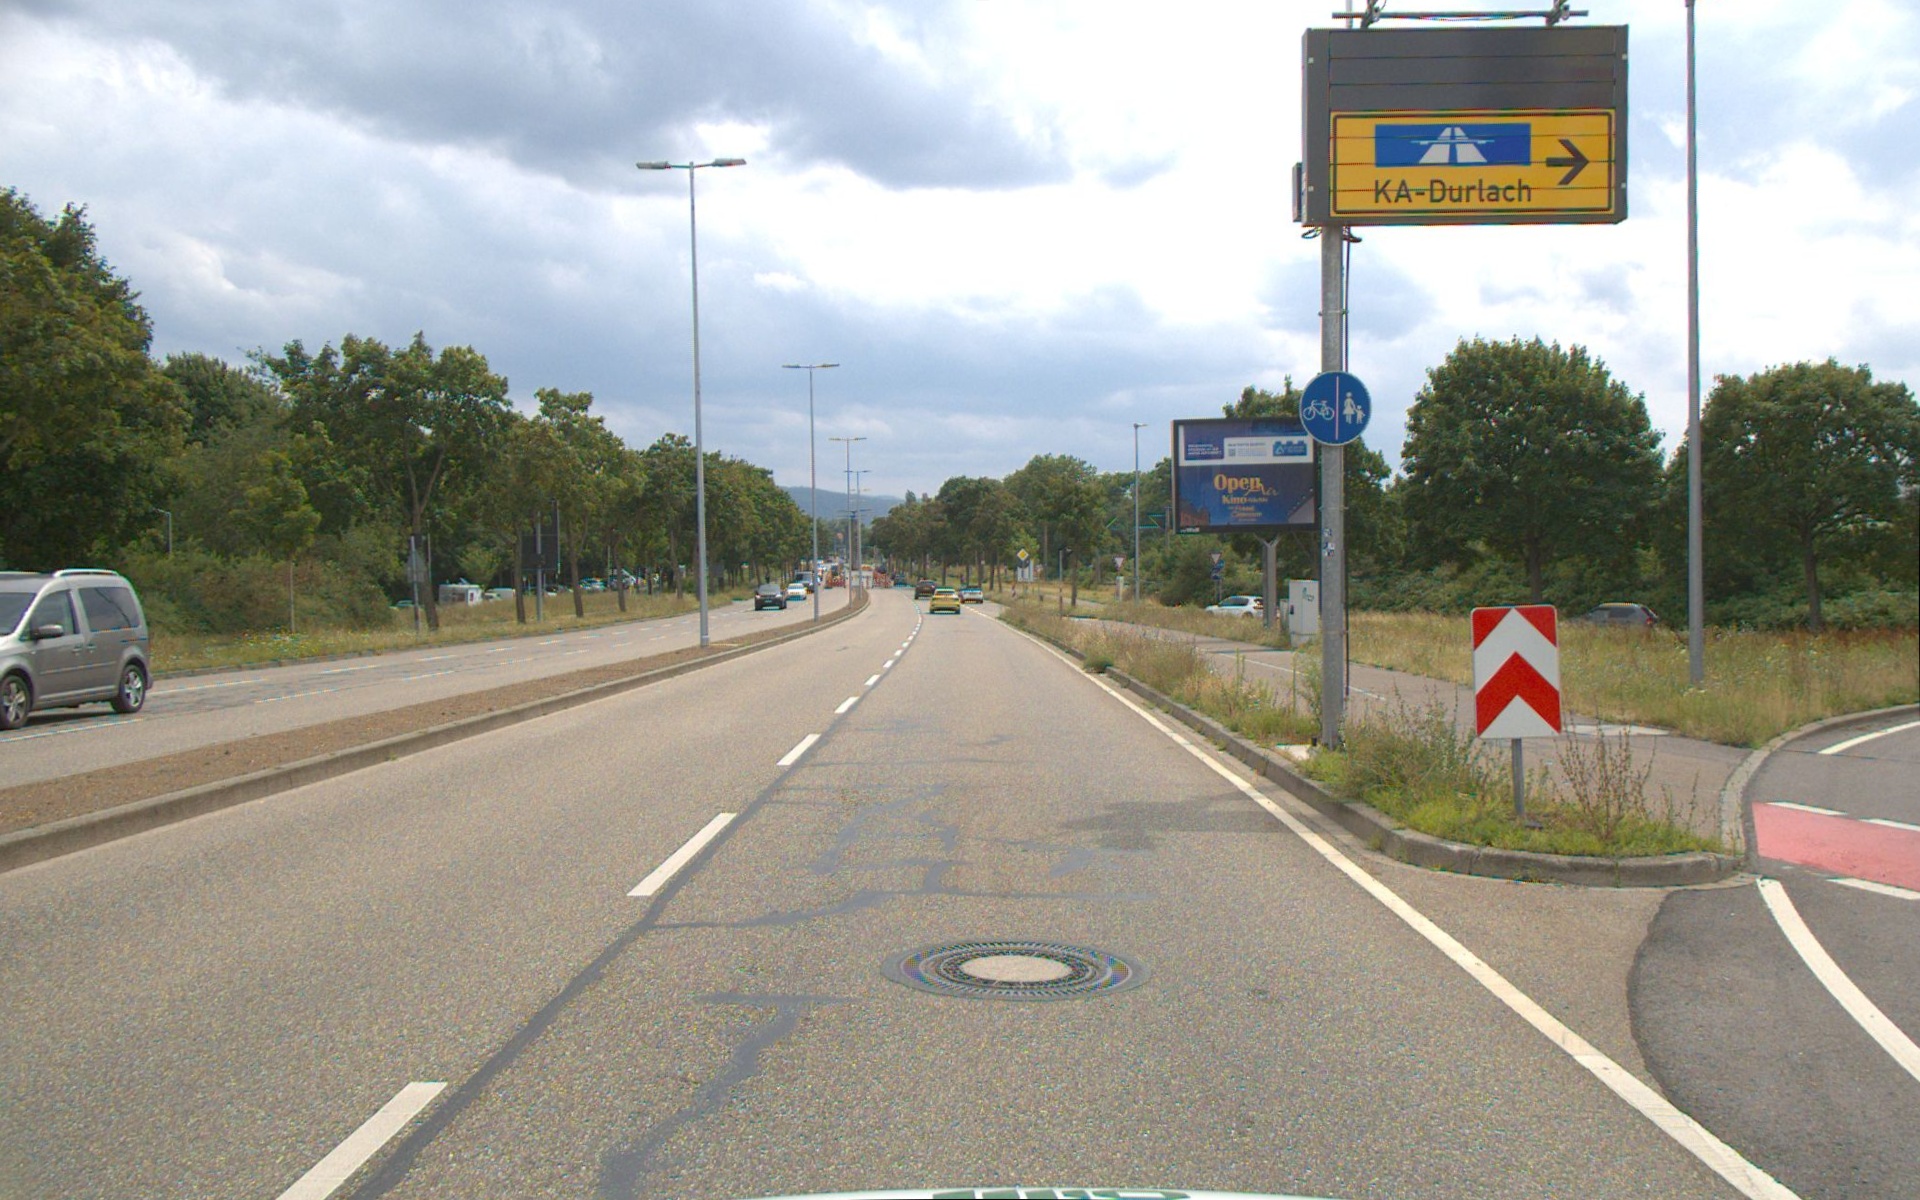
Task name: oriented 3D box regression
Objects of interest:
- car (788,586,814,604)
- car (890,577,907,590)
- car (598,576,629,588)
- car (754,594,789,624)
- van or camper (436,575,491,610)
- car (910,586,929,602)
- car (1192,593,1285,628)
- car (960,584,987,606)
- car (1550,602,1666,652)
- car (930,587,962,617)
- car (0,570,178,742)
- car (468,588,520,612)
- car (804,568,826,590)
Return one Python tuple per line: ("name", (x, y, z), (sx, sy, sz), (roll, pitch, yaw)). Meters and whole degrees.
("car", (-14.416, -0.457, 150.027), (1.953, 1.455, 4.688), (-2, 1, 0))
("car", (-8.185, -2.213, 219.202), (2.161, 1.713, 4.000), (-1, 1, -1))
("car", (-46.040, -2.423, 219.950), (3.696, 1.450, 1.966), (-1, 1, -1))
("car", (-13.119, 0.597, 115.295), (1.953, 1.843, 4.796), (-2, 2, -2))
("van or camper", (-38.429, -0.602, 128.260), (2.422, 2.585, 6.718), (-1, 1, -2))
("car", (-3.527, -0.543, 144.283), (1.633, 1.292, 3.999), (-1, 2, -2))
("car", (12.850, 0.450, 76.417), (3.927, 1.489, 1.763), (1, 2, 41))
("car", (1.057, -0.403, 132.138), (1.973, 1.699, 3.999), (-1, 1, -2))
("car", (24.258, 0.990, 61.932), (3.910, 1.697, 1.707), (1, 1, 28))
("car", (-0.848, 0.095, 96.974), (1.757, 1.589, 3.999), (-1, 1, -2))
("car", (-11.459, 0.590, 20.003), (1.864, 1.841, 4.539), (0, 1, -1))
("car", (-40.014, -0.007, 142.076), (3.907, 1.920, 1.938), (-1, 1, -3))
("car", (-15.569, -2.244, 177.560), (2.053, 2.239, 6.001), (-2, 1, -2))
